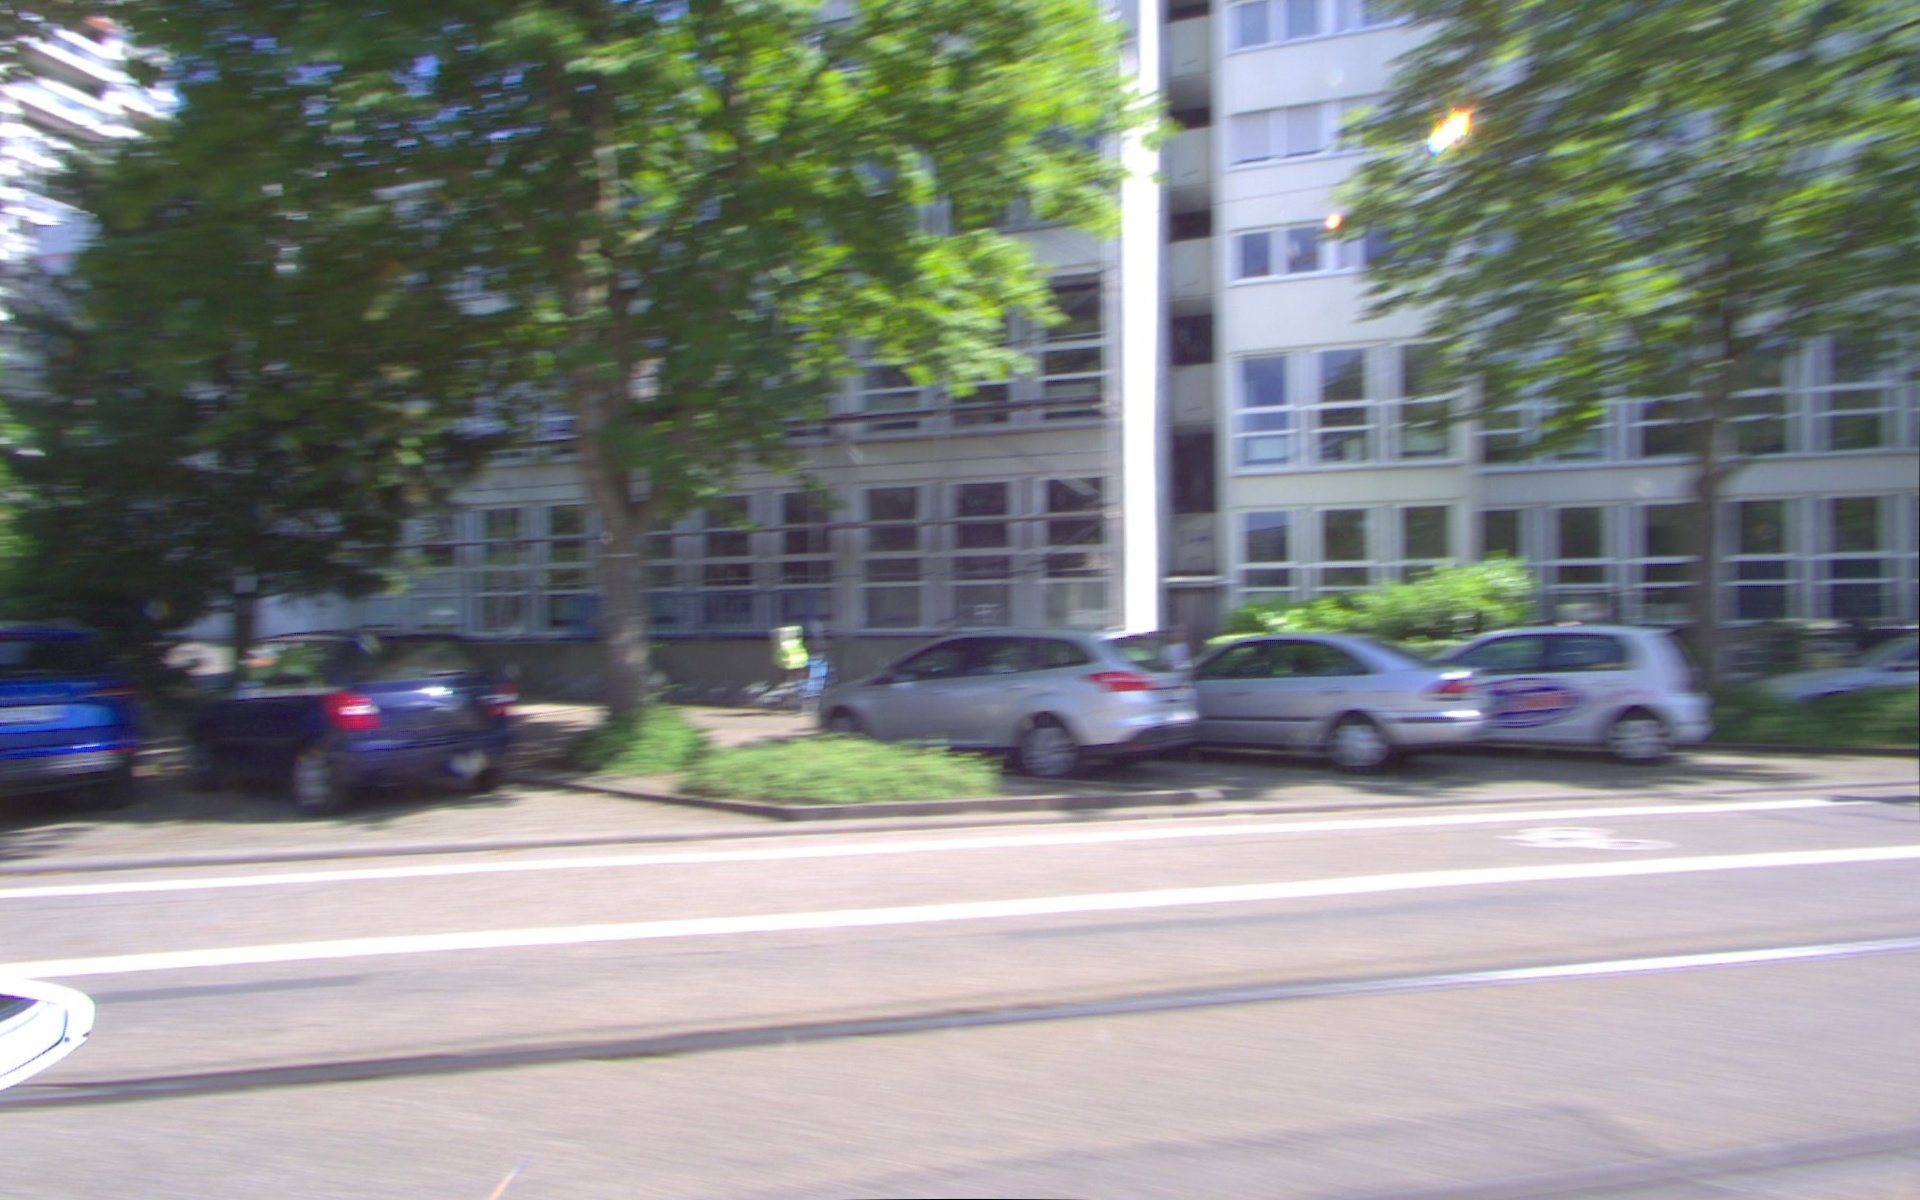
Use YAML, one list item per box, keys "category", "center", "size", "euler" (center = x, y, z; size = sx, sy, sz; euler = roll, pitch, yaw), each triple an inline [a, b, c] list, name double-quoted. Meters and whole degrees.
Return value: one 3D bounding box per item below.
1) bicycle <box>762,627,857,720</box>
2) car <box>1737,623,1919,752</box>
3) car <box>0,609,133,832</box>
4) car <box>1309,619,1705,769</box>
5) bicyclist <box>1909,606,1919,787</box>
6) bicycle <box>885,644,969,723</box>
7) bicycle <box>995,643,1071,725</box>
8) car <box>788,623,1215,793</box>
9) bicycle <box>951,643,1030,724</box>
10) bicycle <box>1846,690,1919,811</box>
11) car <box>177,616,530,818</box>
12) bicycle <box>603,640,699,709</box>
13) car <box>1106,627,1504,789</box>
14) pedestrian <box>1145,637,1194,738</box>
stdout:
- category: "bicycle"
  center: [-2.510, 1.193, 16.948]
  size: [0.652, 1.472, 2.086]
  euler: [-1, -2, 21]
- category: "car"
  center: [12.922, 1.118, 13.009]
  size: [4.283, 1.624, 1.551]
  euler: [-2, -2, 32]
- category: "car"
  center: [-8.754, 0.916, 8.663]
  size: [3.897, 1.644, 1.767]
  euler: [0, 0, 39]
- category: "car"
  center: [6.351, 1.036, 11.859]
  size: [3.895, 1.505, 1.603]
  euler: [-3, -2, 36]
- category: "bicyclist"
  center: [8.779, 0.823, 8.400]
  size: [0.847, 1.562, 0.804]
  euler: [0, -1, -7]
- category: "bicycle"
  center: [-0.518, 1.343, 16.673]
  size: [0.652, 1.204, 2.086]
  euler: [-1, -2, 21]
- category: "bicycle"
  center: [1.210, 1.307, 16.157]
  size: [0.652, 1.204, 2.086]
  euler: [-1, -2, 21]
- category: "car"
  center: [0.334, 1.023, 10.840]
  size: [4.376, 1.505, 1.774]
  euler: [-1, -2, 35]
- category: "bicycle"
  center: [0.538, 1.323, 16.396]
  size: [0.652, 1.204, 2.086]
  euler: [-1, -2, 21]
- category: "bicycle"
  center: [8.779, 1.230, 8.396]
  size: [2.276, 0.929, 0.680]
  euler: [0, -1, -7]
- category: "car"
  center: [-5.695, 0.953, 9.308]
  size: [3.412, 1.550, 1.567]
  euler: [-1, -2, 35]
- category: "bicycle"
  center: [-5.313, 1.255, 17.386]
  size: [0.729, 1.099, 2.203]
  euler: [0, -2, 8]
- category: "car"
  center: [3.730, 1.063, 11.130]
  size: [3.895, 1.505, 1.602]
  euler: [-2, -2, 37]
- category: "pedestrian"
  center: [3.137, 1.294, 15.012]
  size: [0.610, 1.479, 0.424]
  euler: [0, -1, -10]
